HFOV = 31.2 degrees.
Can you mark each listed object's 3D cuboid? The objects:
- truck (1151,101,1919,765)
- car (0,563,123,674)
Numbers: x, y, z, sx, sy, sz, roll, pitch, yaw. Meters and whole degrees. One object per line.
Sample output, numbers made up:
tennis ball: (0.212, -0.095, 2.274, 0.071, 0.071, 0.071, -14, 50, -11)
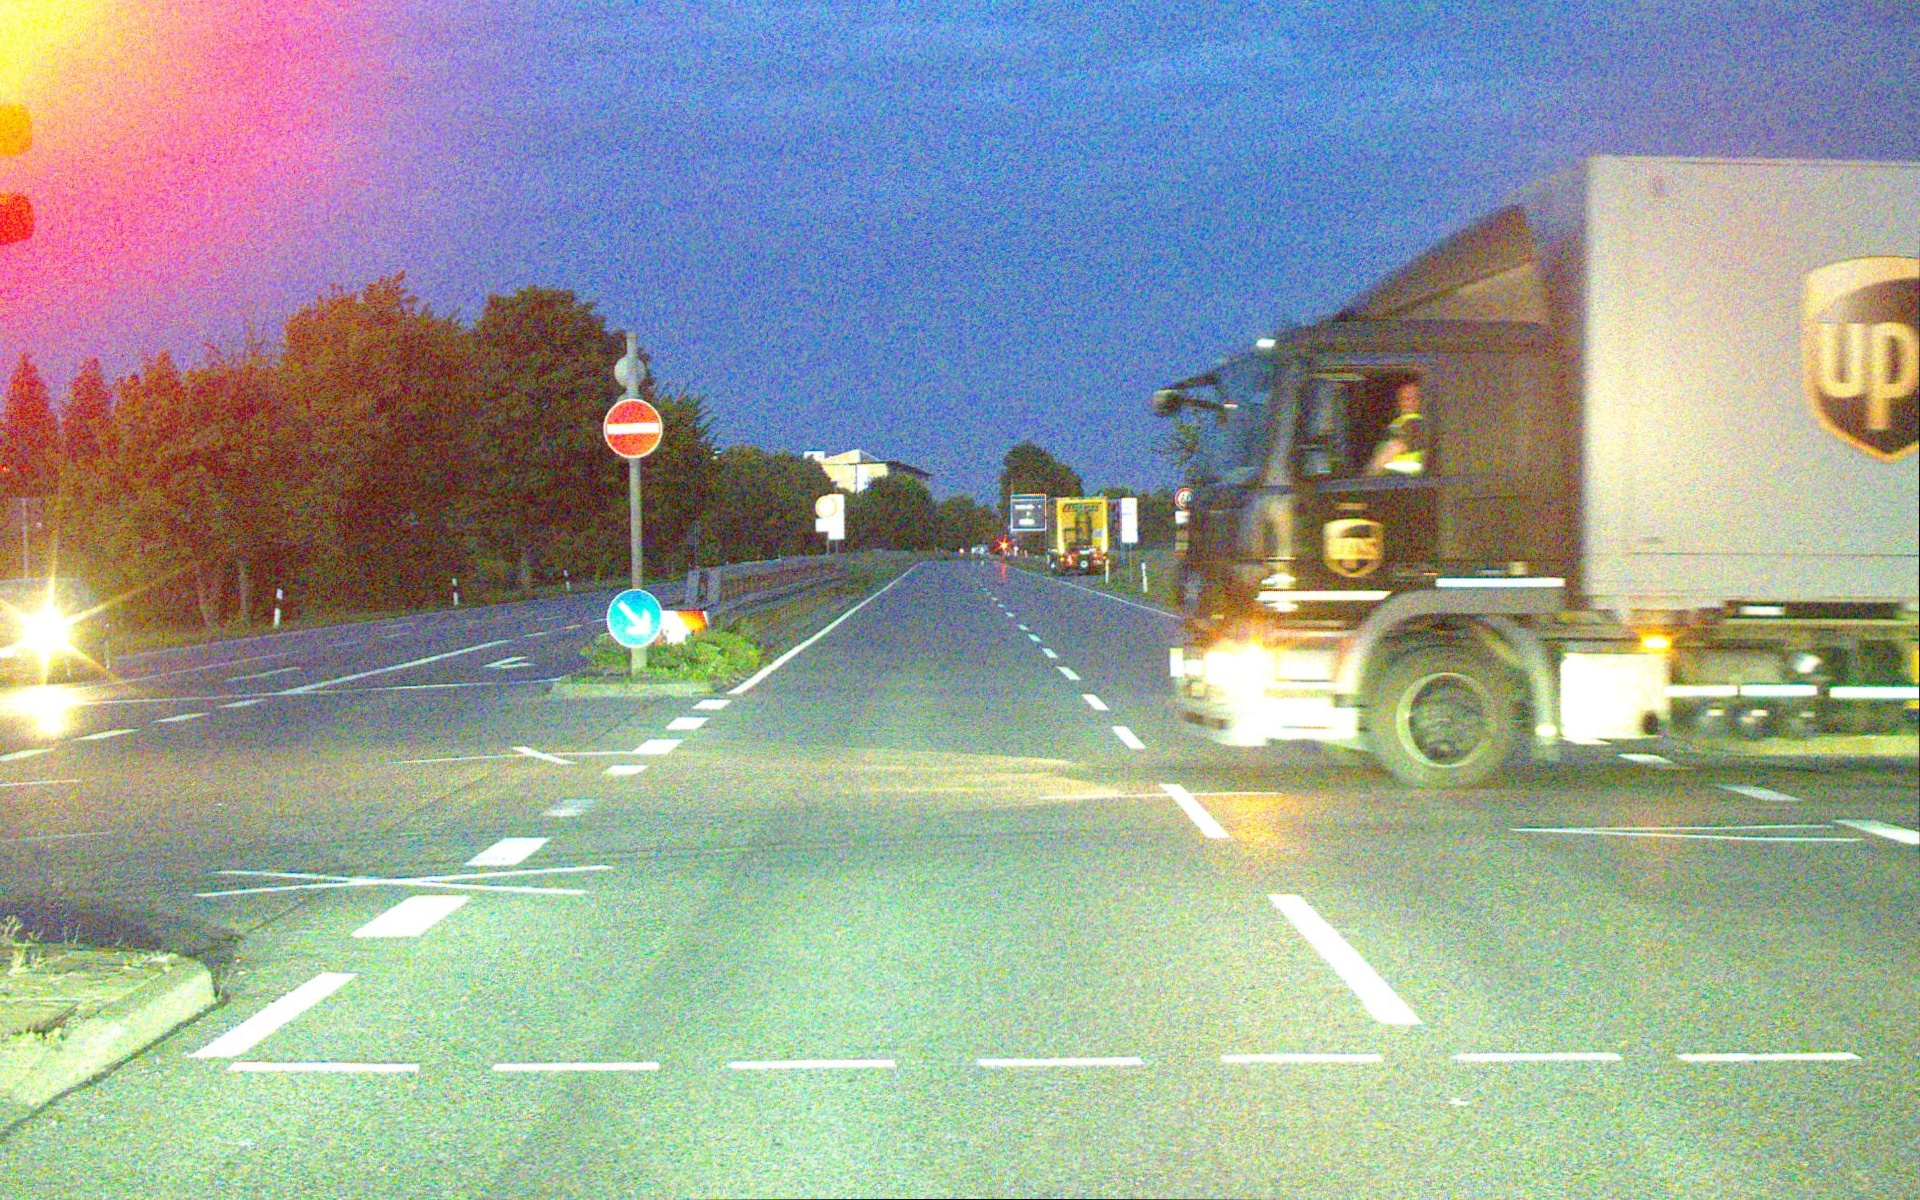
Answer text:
truck: (6.600, -1.085, 23.033, 10.310, 4.103, 2.735, 0, 0, -5)
car: (-13.052, 0.273, 48.275, 1.628, 1.372, 3.589, -5, 2, 0)
